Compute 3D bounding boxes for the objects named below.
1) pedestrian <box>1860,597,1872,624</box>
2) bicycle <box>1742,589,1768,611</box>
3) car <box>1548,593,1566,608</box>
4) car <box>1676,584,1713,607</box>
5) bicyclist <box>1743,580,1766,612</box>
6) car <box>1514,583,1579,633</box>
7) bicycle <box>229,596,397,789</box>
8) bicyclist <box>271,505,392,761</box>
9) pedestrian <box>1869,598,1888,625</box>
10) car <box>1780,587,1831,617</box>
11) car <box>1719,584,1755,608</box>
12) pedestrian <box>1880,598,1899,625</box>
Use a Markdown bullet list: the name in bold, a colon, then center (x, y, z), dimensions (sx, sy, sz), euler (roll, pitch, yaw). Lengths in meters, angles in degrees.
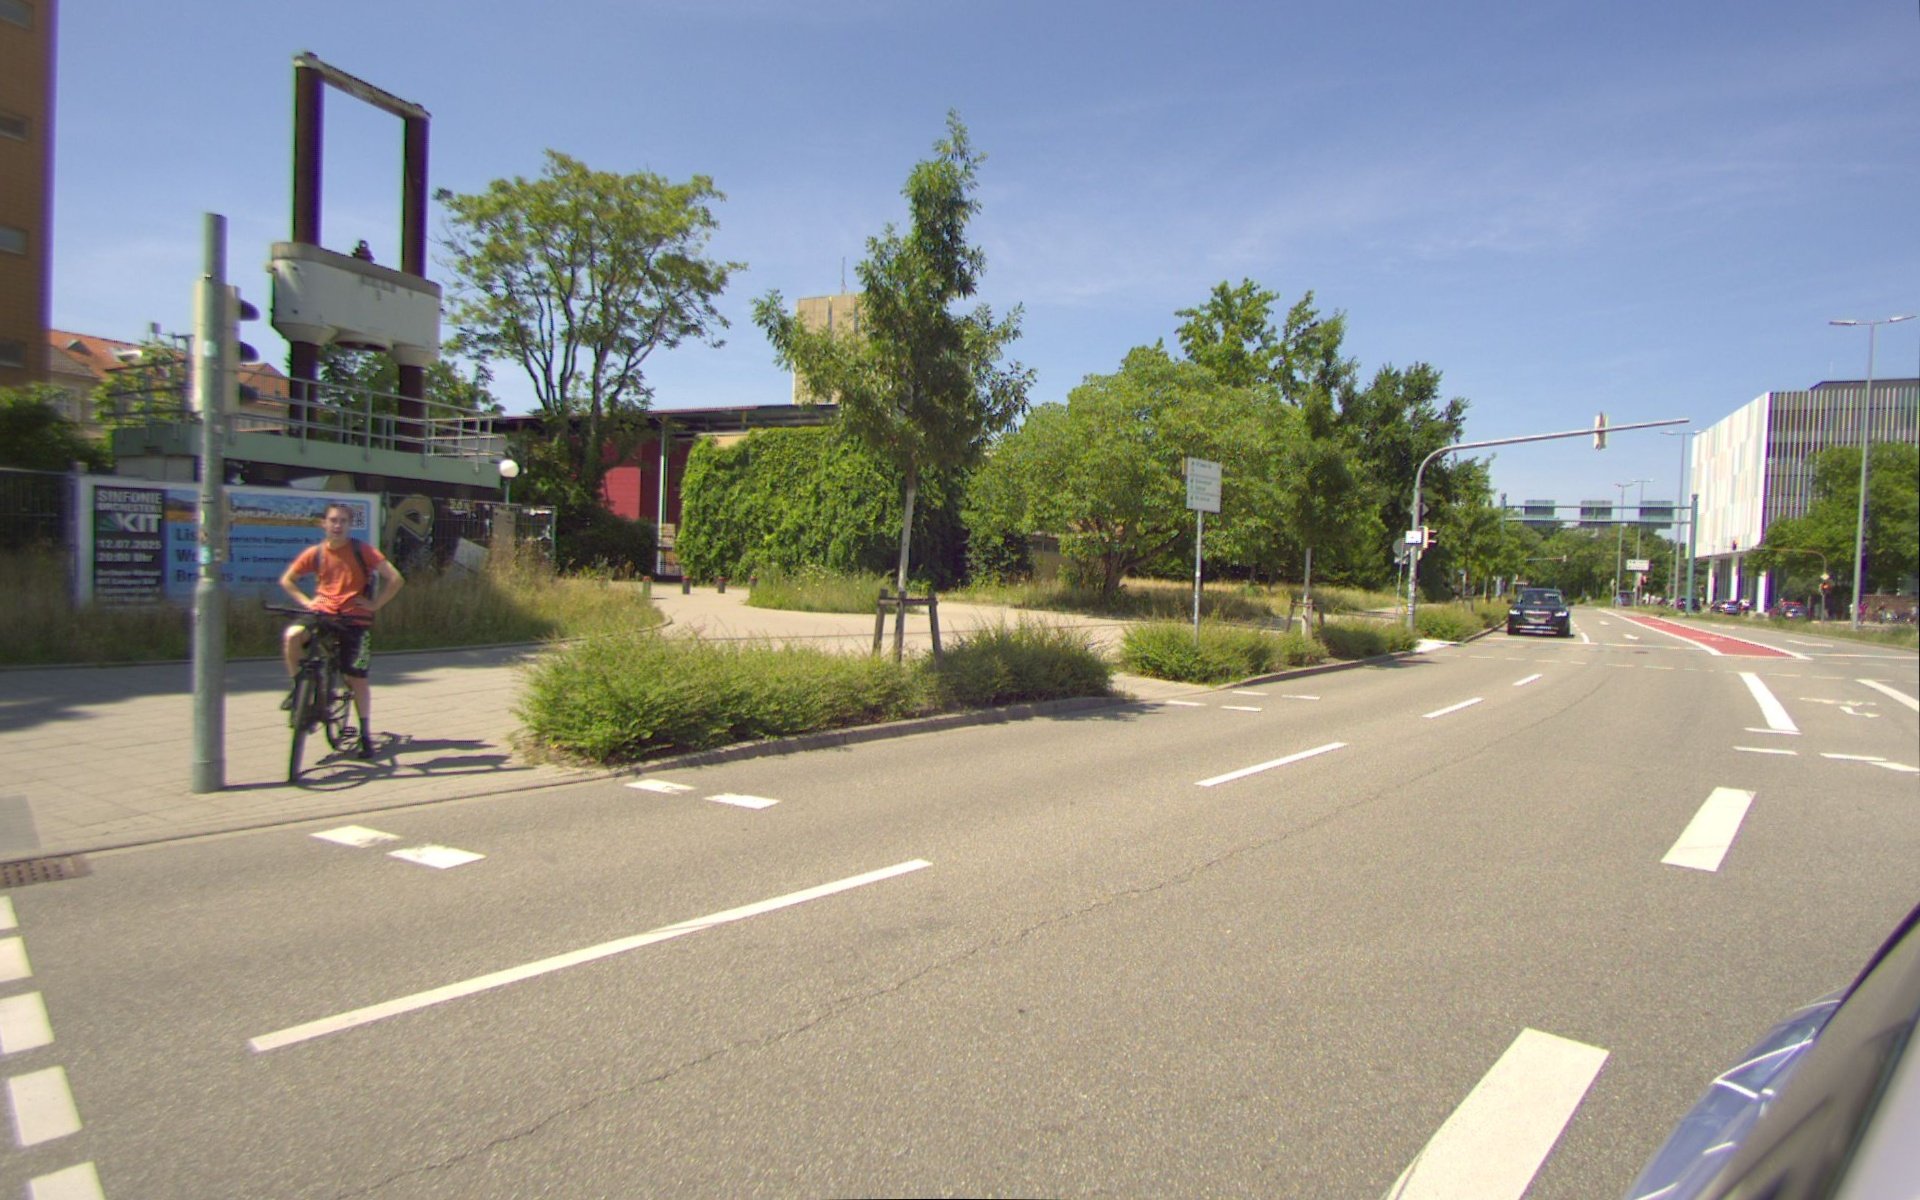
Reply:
- **pedestrian**: center (69.847, 0.819, 78.005), dimensions (0.545, 2.039, 0.530), euler (3, -1, 29)
- **bicycle**: center (48.080, -0.003, 61.187), dimensions (0.514, 1.252, 2.177), euler (3, 0, 19)
- **car**: center (76.787, 0.031, 130.162), dimensions (1.721, 1.707, 3.875), euler (3, 0, 28)
- **car**: center (61.202, -0.342, 84.396), dimensions (1.761, 1.689, 3.962), euler (3, 0, 26)
- **bicyclist**: center (48.017, -0.237, 61.175), dimensions (0.700, 1.910, 1.131), euler (3, 0, 19)
- **car**: center (20.963, 0.239, 36.075), dimensions (1.697, 1.606, 4.502), euler (3, 2, 33)
- **bicycle**: center (-4.474, 0.570, 7.132), dimensions (0.547, 1.058, 2.002), euler (3, 2, -21)
- **bicyclist**: center (-4.492, 0.219, 7.270), dimensions (0.540, 1.737, 0.705), euler (3, 1, -21)
- **pedestrian**: center (70.613, 0.862, 77.831), dimensions (0.782, 2.039, 0.954), euler (3, 0, 28)
- **car**: center (61.982, 0.169, 74.250), dimensions (1.983, 2.039, 4.170), euler (3, 0, 29)
- **car**: center (63.632, -0.320, 82.924), dimensions (1.768, 1.705, 3.955), euler (3, 0, 31)
- **pedestrian**: center (71.248, 0.899, 77.566), dimensions (0.782, 2.039, 0.832), euler (3, -1, 28)
